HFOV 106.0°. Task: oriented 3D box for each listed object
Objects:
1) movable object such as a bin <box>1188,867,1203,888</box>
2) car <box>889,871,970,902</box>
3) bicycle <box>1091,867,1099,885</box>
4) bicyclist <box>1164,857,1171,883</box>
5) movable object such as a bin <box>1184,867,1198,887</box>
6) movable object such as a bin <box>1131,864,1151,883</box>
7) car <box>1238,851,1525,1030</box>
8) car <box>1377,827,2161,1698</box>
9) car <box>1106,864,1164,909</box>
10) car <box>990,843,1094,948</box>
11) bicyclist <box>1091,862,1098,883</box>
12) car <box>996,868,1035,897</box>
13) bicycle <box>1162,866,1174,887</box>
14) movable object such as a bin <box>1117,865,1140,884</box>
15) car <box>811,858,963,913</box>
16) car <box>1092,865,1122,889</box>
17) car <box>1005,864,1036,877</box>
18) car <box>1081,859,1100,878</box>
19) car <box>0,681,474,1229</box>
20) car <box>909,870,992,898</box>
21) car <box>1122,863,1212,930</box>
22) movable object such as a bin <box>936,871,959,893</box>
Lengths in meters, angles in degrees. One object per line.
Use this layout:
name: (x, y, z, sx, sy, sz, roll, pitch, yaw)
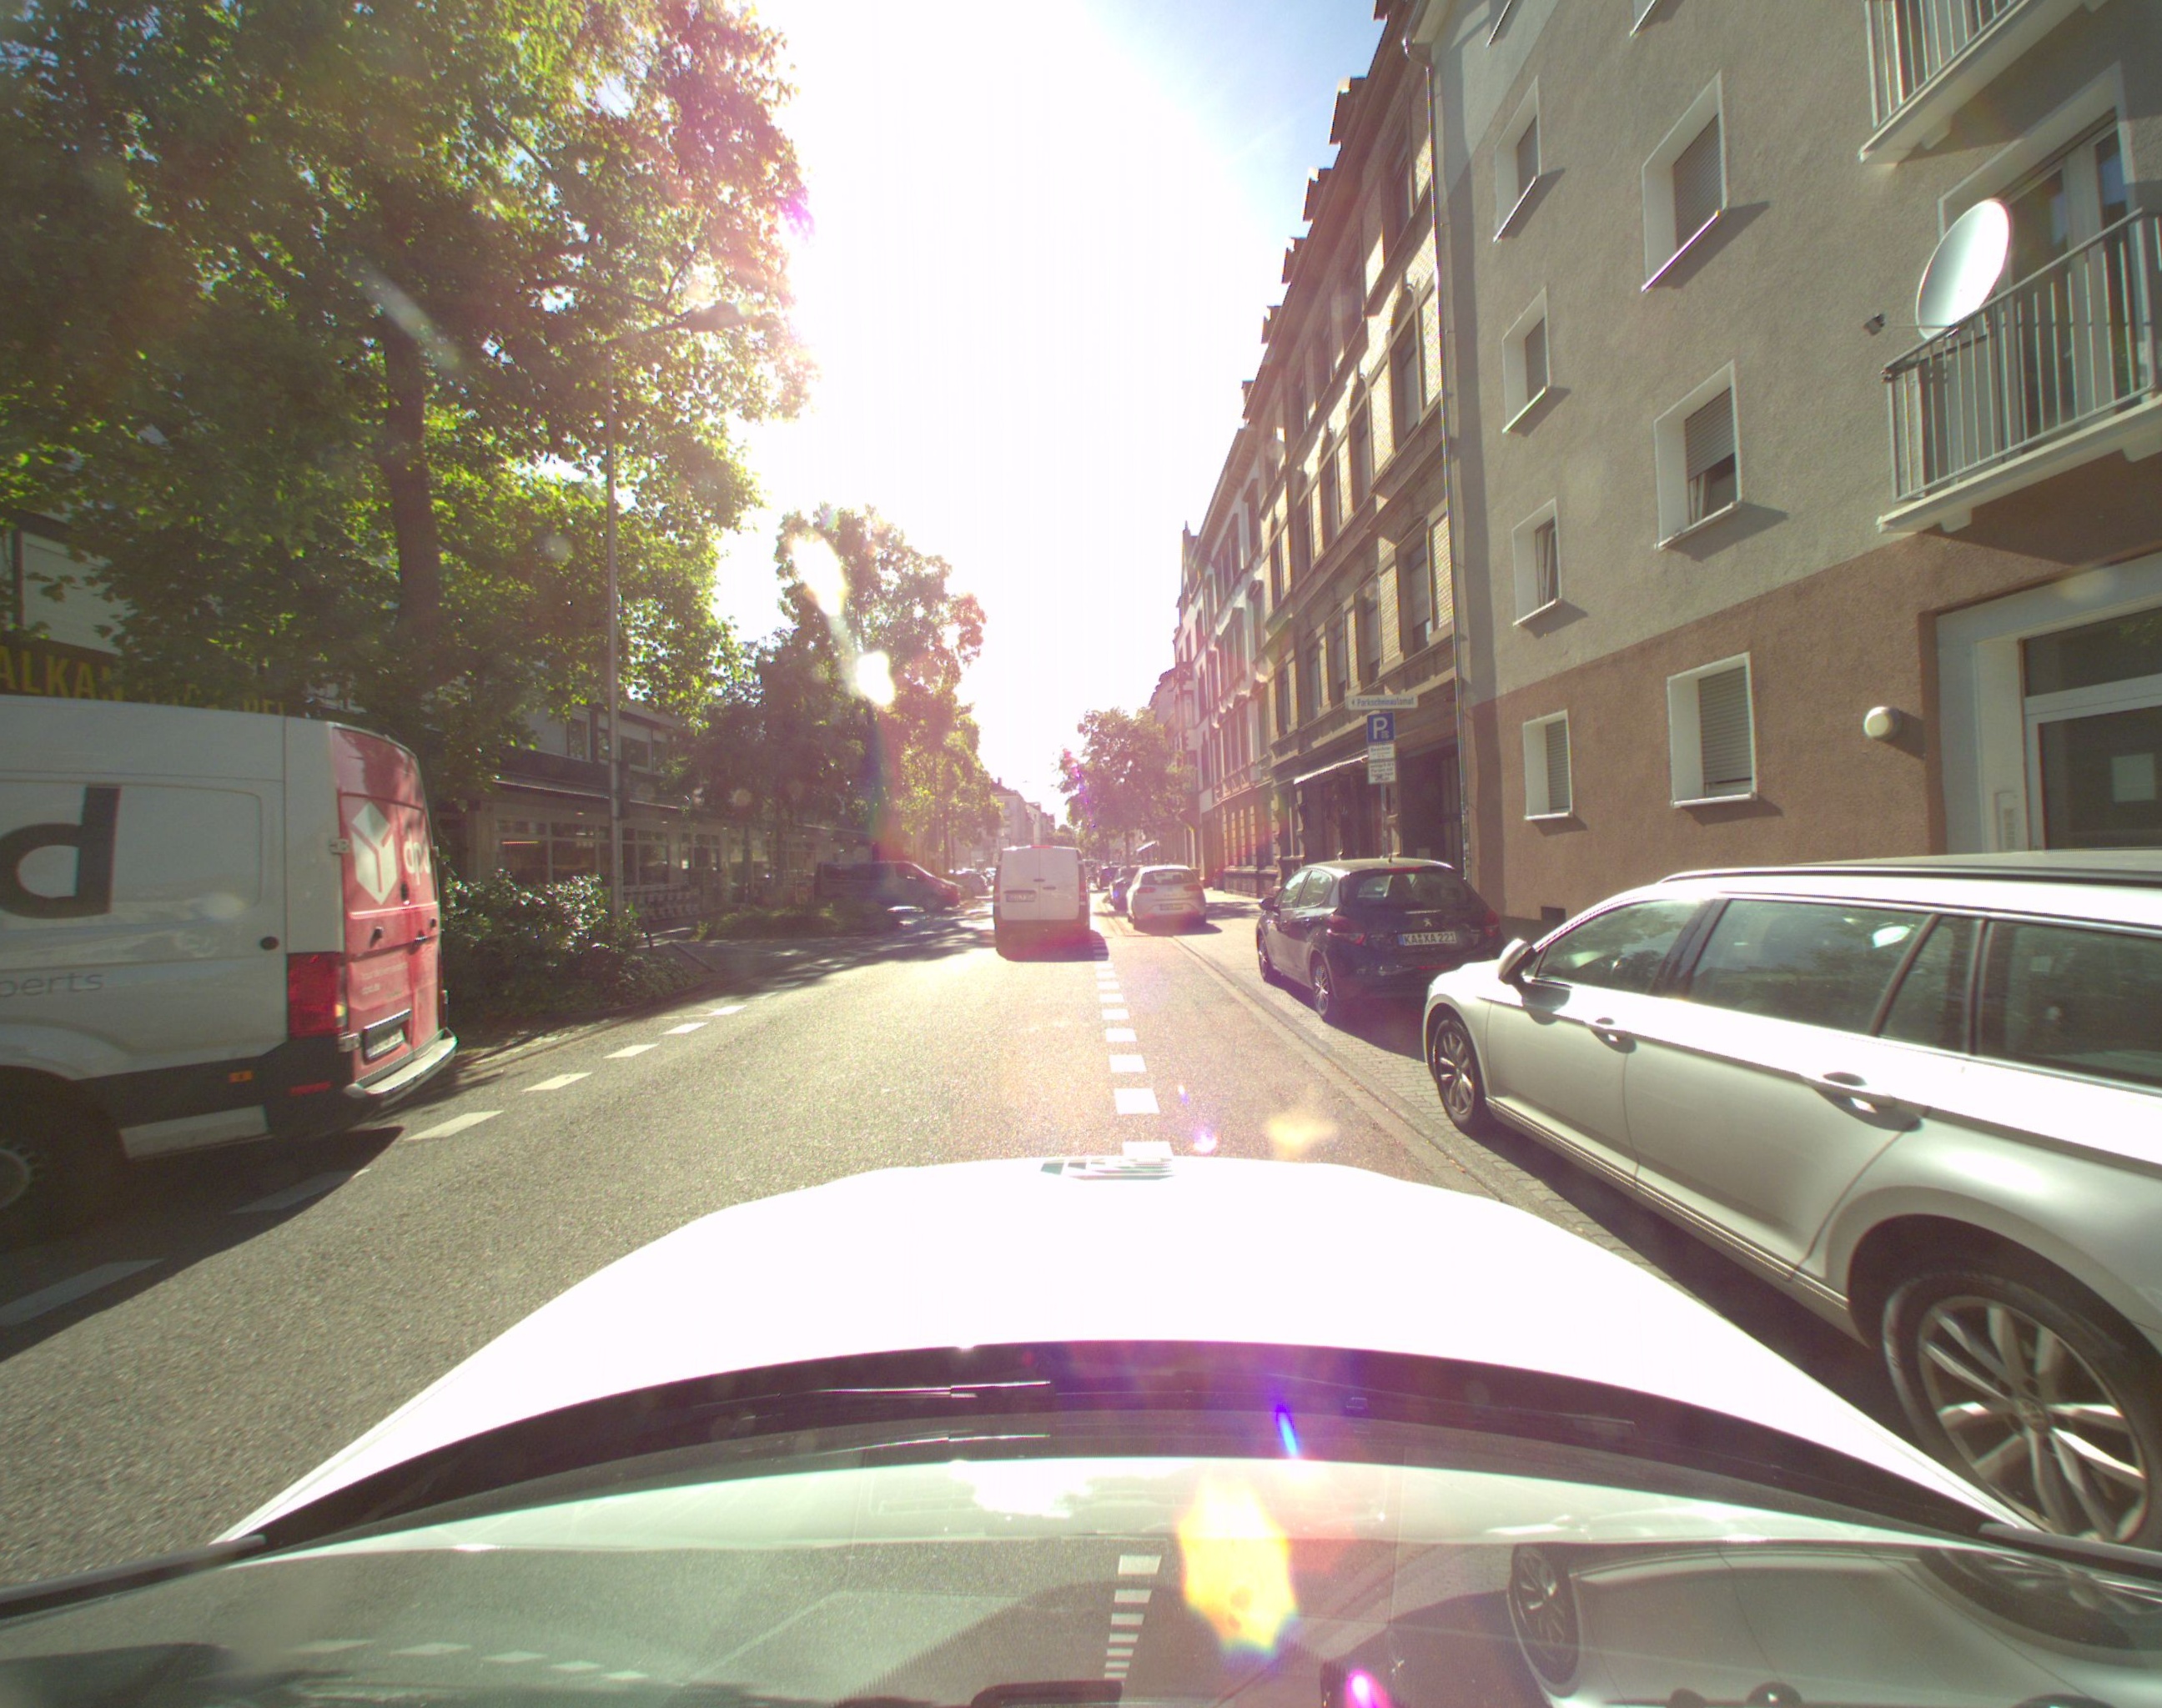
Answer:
movable object such as a bin: (6.106, 1.234, 43.447, 0.636, 1.069, 0.639, -2, -1, -1)
car: (-7.880, 1.679, 42.627, 3.979, 1.463, 1.810, -1, -1, -4)
bicycle: (1.020, 1.633, 60.388, 0.473, 1.274, 1.217, -2, -1, -1)
bicyclist: (4.964, 0.937, 46.930, 0.359, 1.477, 0.531, -1, -1, 4)
movable object such as a bin: (6.045, 1.254, 44.601, 0.636, 1.069, 0.632, -2, -1, -1)
movable object such as a bin: (4.522, 1.478, 61.688, 1.028, 1.348, 1.116, -2, -1, 38)
car: (2.956, 0.768, 8.898, 1.704, 1.480, 3.709, -2, -1, 0)
car: (2.762, 0.691, 2.977, 1.779, 1.460, 4.518, -3, -1, 2)
car: (1.882, 1.109, 29.645, 1.733, 1.451, 4.305, -2, -1, -1)
car: (-0.951, 0.791, 17.596, 1.918, 1.914, 4.878, -1, 0, -6)
bicyclist: (0.998, 1.346, 60.387, 0.438, 1.508, 0.496, -3, -1, -1)
car: (-3.577, 1.557, 45.197, 1.757, 1.438, 3.959, -3, -1, 0)
bicycle: (5.029, 1.275, 46.976, 0.534, 1.148, 2.126, -6, -2, 4)
movable object such as a bin: (3.554, 1.505, 60.574, 1.278, 1.348, 1.095, -2, -1, -43)
car: (-7.339, 1.169, 31.214, 5.277, 1.974, 2.014, -1, -1, -1)
car: (1.628, 1.457, 52.524, 1.631, 1.476, 3.577, -3, -1, -2)
car: (-8.061, 2.164, 108.567, 3.979, 1.640, 1.997, -2, -1, -4)
car: (0.992, 1.521, 86.329, 1.811, 1.921, 4.641, -2, -1, -2)
car: (-7.051, 0.529, 3.666, 6.619, 2.474, 1.982, -2, -1, -28)
car: (-7.222, 1.640, 45.307, 4.289, 1.460, 1.763, 0, -1, 1)
car: (2.055, 0.978, 20.434, 1.733, 1.451, 3.998, -2, -1, -1)
movable object such as a bin: (-9.223, 1.904, 56.147, 1.223, 1.450, 1.079, -2, -1, 10)
